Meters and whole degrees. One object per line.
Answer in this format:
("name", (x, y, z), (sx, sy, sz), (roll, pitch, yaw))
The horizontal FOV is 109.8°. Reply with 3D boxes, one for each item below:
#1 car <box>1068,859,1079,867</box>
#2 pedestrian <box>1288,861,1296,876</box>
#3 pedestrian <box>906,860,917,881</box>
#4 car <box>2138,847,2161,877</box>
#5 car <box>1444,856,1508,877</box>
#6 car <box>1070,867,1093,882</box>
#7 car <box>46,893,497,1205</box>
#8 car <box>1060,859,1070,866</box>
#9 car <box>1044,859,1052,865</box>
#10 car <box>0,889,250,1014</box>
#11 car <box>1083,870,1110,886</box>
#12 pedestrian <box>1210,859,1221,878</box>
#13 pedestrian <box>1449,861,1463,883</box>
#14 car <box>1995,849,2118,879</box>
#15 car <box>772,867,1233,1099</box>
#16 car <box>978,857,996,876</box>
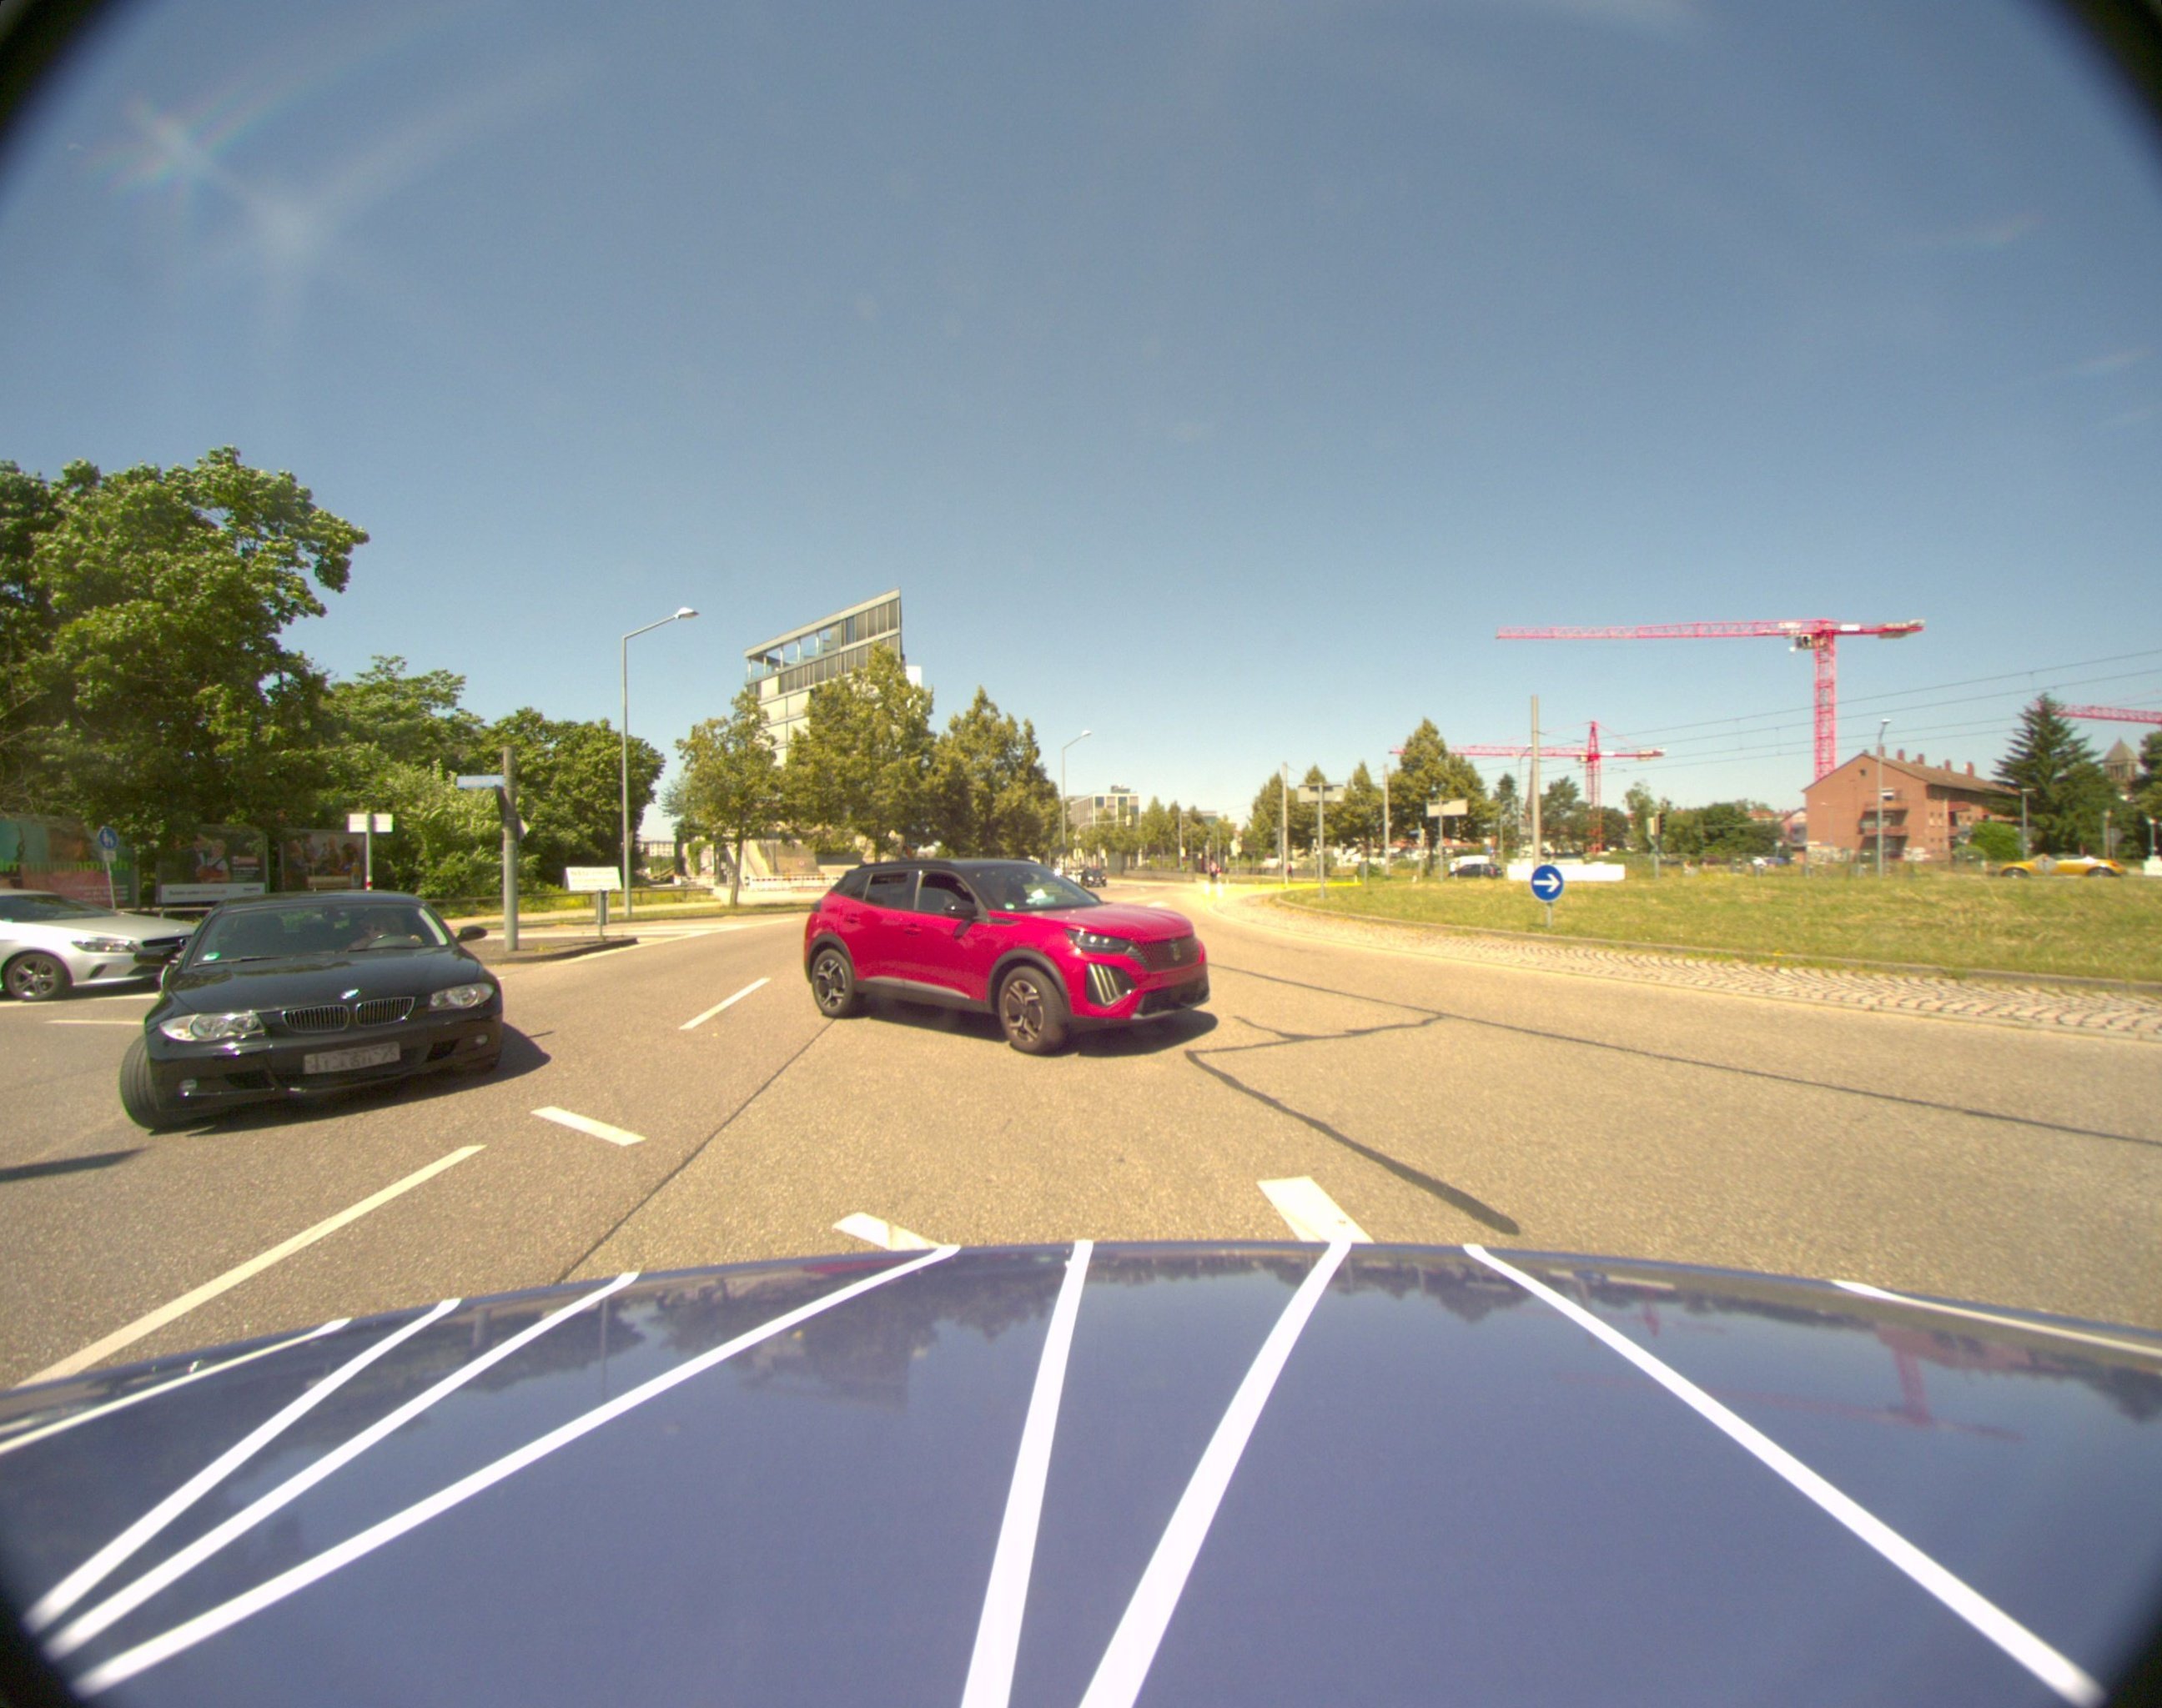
("car", (-2.007, 2.350, 206.283), (2.001, 2.002, 3.896), (0, 1, -14))
("pedestrian", (19.612, 1.312, 70.695), (0.597, 1.398, 0.544), (-1, 0, 2))
("pedestrian", (-15.196, 1.469, 67.972), (0.834, 1.858, 0.611), (0, 2, 1))
("car", (73.866, 0.537, 51.437), (4.005, 2.002, 1.995), (0, 1, -25))
("car", (30.995, 0.953, 59.684), (2.004, 1.456, 3.988), (-1, 2, -43))
("car", (0.041, 1.927, 71.538), (1.577, 1.218, 3.319), (0, 1, -10))
("car", (-6.067, 1.111, 5.955), (3.989, 1.432, 1.806), (-1, 1, 45))
("car", (-4.578, 2.454, 219.123), (2.001, 2.002, 3.896), (0, 1, -14))
("car", (-11.323, 2.643, 260.451), (2.000, 2.002, 3.995), (0, 1, -10))
("car", (-14.395, 1.278, 10.183), (4.002, 1.420, 1.861), (-1, 1, -13))
("car", (1.317, 2.111, 66.102), (1.741, 1.205, 3.562), (0, 1, -10))
("pedestrian", (11.343, 1.213, 64.096), (0.760, 1.630, 0.781), (0, 1, 0))
("pedestrian", (32.082, 1.541, 64.977), (0.814, 1.888, 0.732), (0, 2, -1))
("car", (48.029, 0.447, 37.478), (1.835, 1.395, 3.651), (-1, 1, -36))
("car", (-0.919, 0.922, 7.032), (4.200, 1.518, 1.725), (-2, -1, 38))
("car", (-13.356, 1.767, 107.677), (2.001, 2.493, 3.995), (-1, 0, -15))
